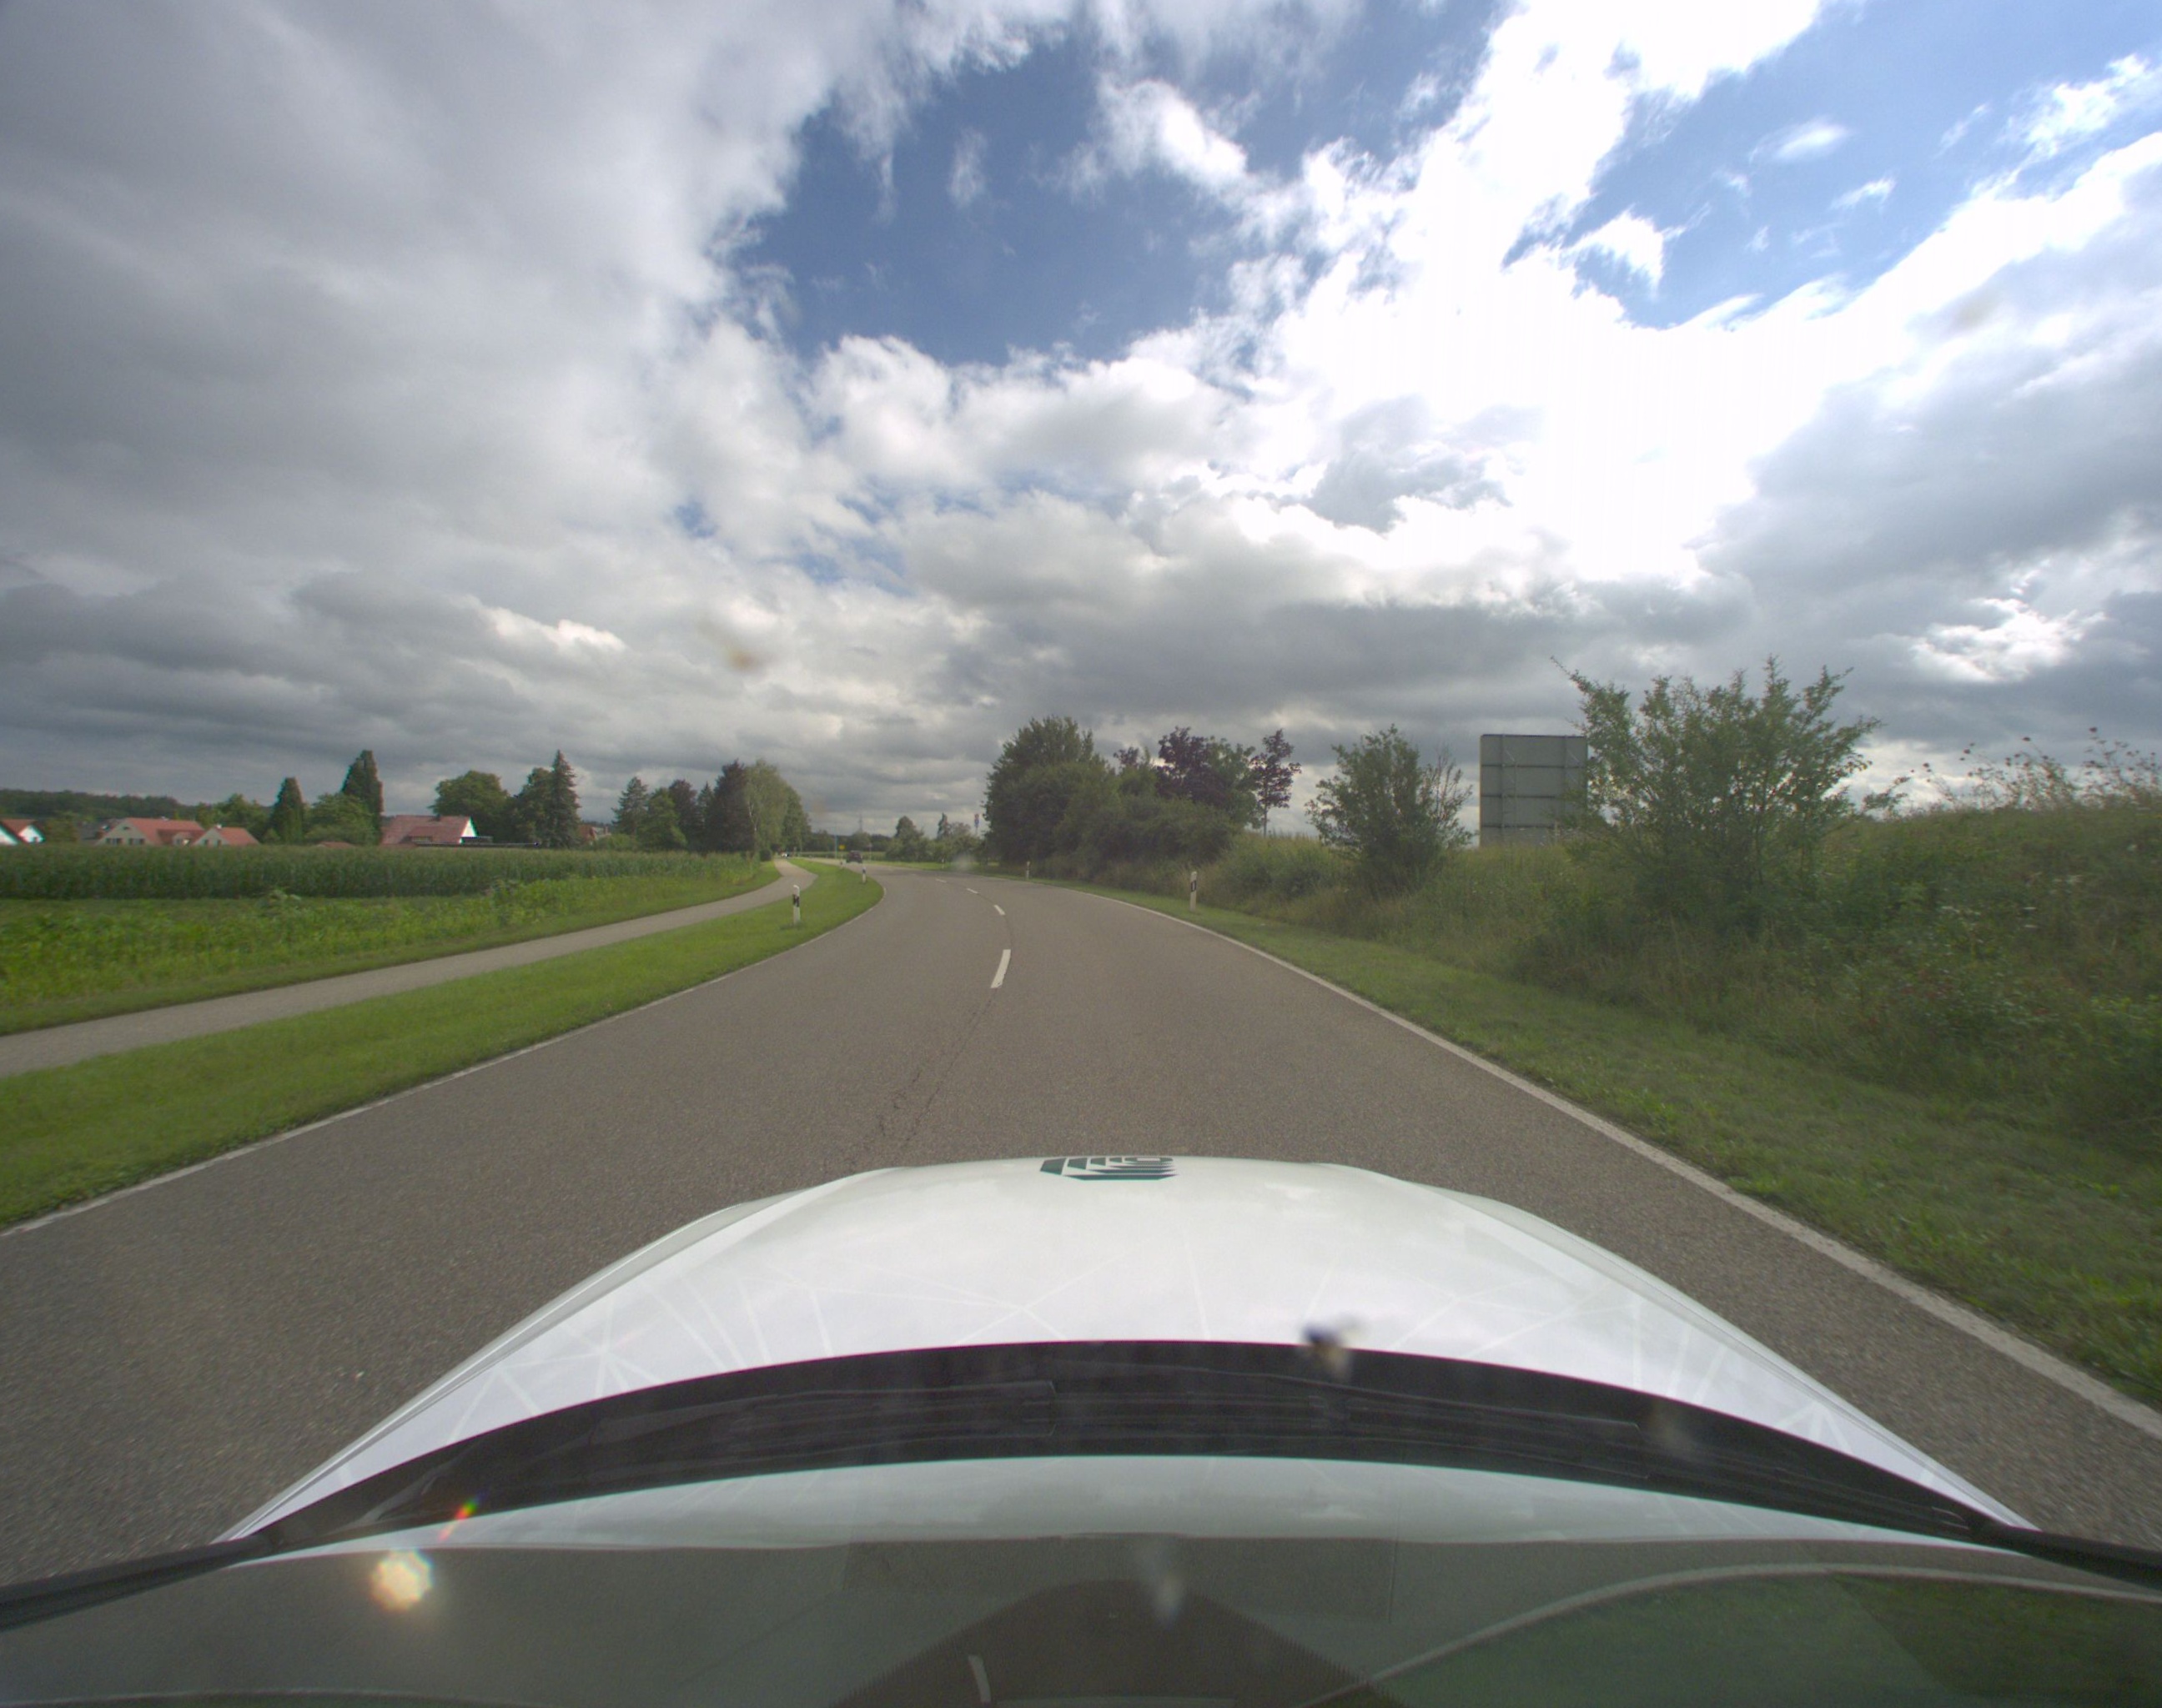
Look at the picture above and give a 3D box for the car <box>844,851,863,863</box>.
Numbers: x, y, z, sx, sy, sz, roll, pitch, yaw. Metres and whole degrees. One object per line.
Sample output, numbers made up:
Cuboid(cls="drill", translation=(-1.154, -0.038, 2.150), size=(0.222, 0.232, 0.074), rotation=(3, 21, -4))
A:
Cuboid(cls="car", translation=(-30.960, 0.395, 110.586), size=(1.915, 1.666, 3.969), rotation=(2, 0, -23))
